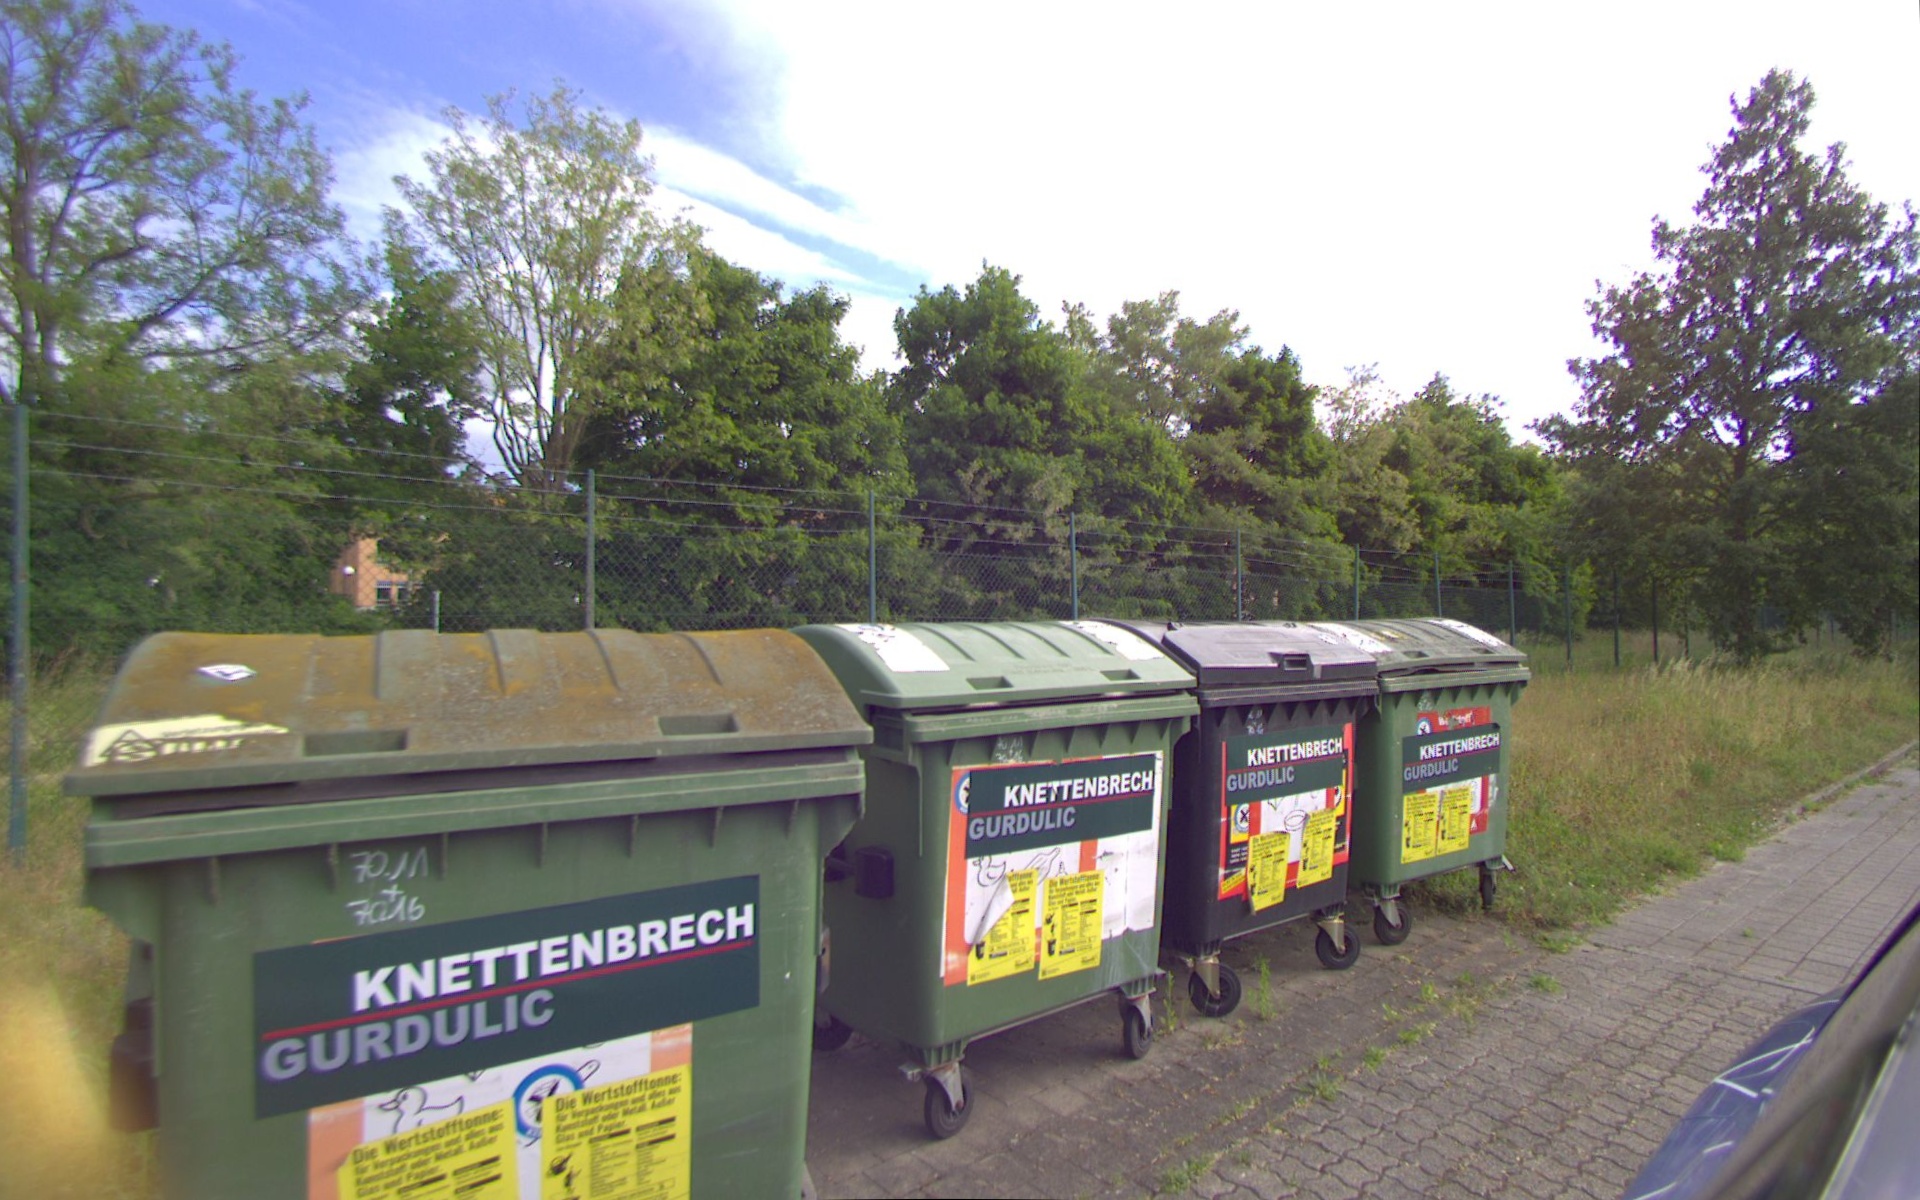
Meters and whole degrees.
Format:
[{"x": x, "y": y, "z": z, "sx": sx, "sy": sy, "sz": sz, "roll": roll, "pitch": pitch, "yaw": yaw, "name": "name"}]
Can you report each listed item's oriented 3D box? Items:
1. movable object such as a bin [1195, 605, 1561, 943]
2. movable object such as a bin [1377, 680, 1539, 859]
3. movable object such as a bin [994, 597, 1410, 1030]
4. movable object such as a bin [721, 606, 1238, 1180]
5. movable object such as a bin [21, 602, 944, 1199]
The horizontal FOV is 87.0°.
[{"x": 2.088, "y": 0.741, "z": 5.120, "sx": 1.329, "sy": 1.413, "sz": 1.132, "roll": 0, "pitch": -1, "yaw": -31, "name": "movable object such as a bin"}, {"x": 2.813, "y": 0.926, "z": 5.735, "sx": 0.574, "sy": 0.877, "sz": 0.602, "roll": 0, "pitch": -1, "yaw": -31, "name": "movable object such as a bin"}, {"x": 1.018, "y": 0.723, "z": 4.267, "sx": 1.372, "sy": 1.453, "sz": 1.072, "roll": 0, "pitch": -1, "yaw": -37, "name": "movable object such as a bin"}, {"x": 0.059, "y": 0.742, "z": 3.393, "sx": 1.359, "sy": 1.423, "sz": 1.072, "roll": 0, "pitch": -1, "yaw": -37, "name": "movable object such as a bin"}, {"x": -0.900, "y": 0.721, "z": 2.139, "sx": 1.357, "sy": 1.416, "sz": 1.127, "roll": 0, "pitch": -1, "yaw": -29, "name": "movable object such as a bin"}]
